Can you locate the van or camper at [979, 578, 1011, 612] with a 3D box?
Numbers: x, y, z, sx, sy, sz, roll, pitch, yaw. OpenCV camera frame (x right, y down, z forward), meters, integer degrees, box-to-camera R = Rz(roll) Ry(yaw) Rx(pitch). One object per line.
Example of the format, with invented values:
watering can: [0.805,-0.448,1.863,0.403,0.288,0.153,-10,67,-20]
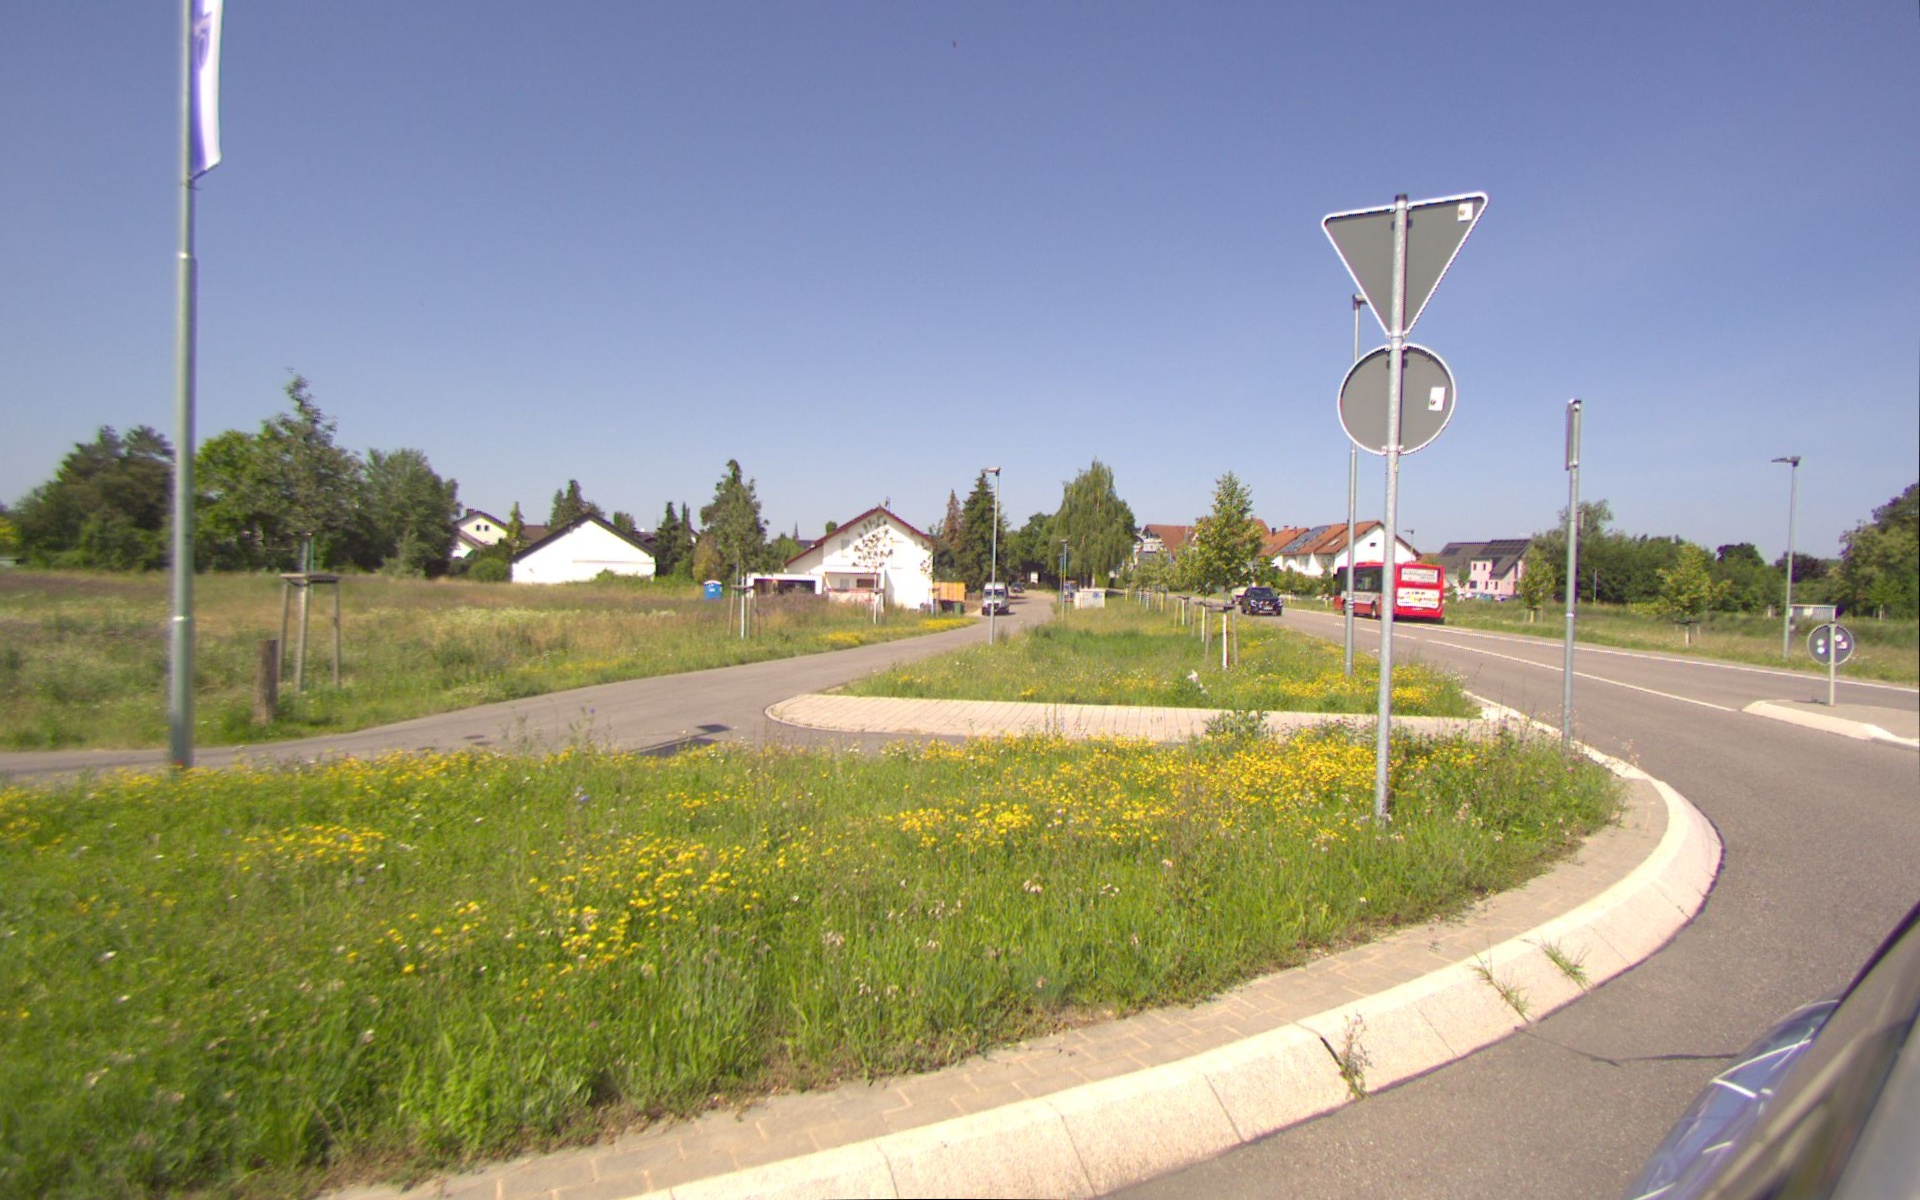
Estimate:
van or camper: [2.882,-0.465,81.824,2.142,2.633,6.020,0,1,7]

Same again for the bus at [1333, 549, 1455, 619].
bus: [23.929,-0.913,56.683,2.756,3.327,12.207,3,1,7]

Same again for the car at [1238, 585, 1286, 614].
car: [17.851,-0.038,60.002,1.900,1.581,3.996,2,1,4]

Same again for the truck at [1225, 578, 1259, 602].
truck: [24.250,-0.900,87.155,1.924,2.009,5.635,0,1,6]

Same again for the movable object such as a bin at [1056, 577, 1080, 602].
movable object such as a bin: [11.143,-1.039,104.173,2.284,2.494,6.932,-1,0,7]

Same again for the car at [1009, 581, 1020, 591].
car: [8.682,-2.279,161.557,1.830,1.463,4.166,-1,2,3]
